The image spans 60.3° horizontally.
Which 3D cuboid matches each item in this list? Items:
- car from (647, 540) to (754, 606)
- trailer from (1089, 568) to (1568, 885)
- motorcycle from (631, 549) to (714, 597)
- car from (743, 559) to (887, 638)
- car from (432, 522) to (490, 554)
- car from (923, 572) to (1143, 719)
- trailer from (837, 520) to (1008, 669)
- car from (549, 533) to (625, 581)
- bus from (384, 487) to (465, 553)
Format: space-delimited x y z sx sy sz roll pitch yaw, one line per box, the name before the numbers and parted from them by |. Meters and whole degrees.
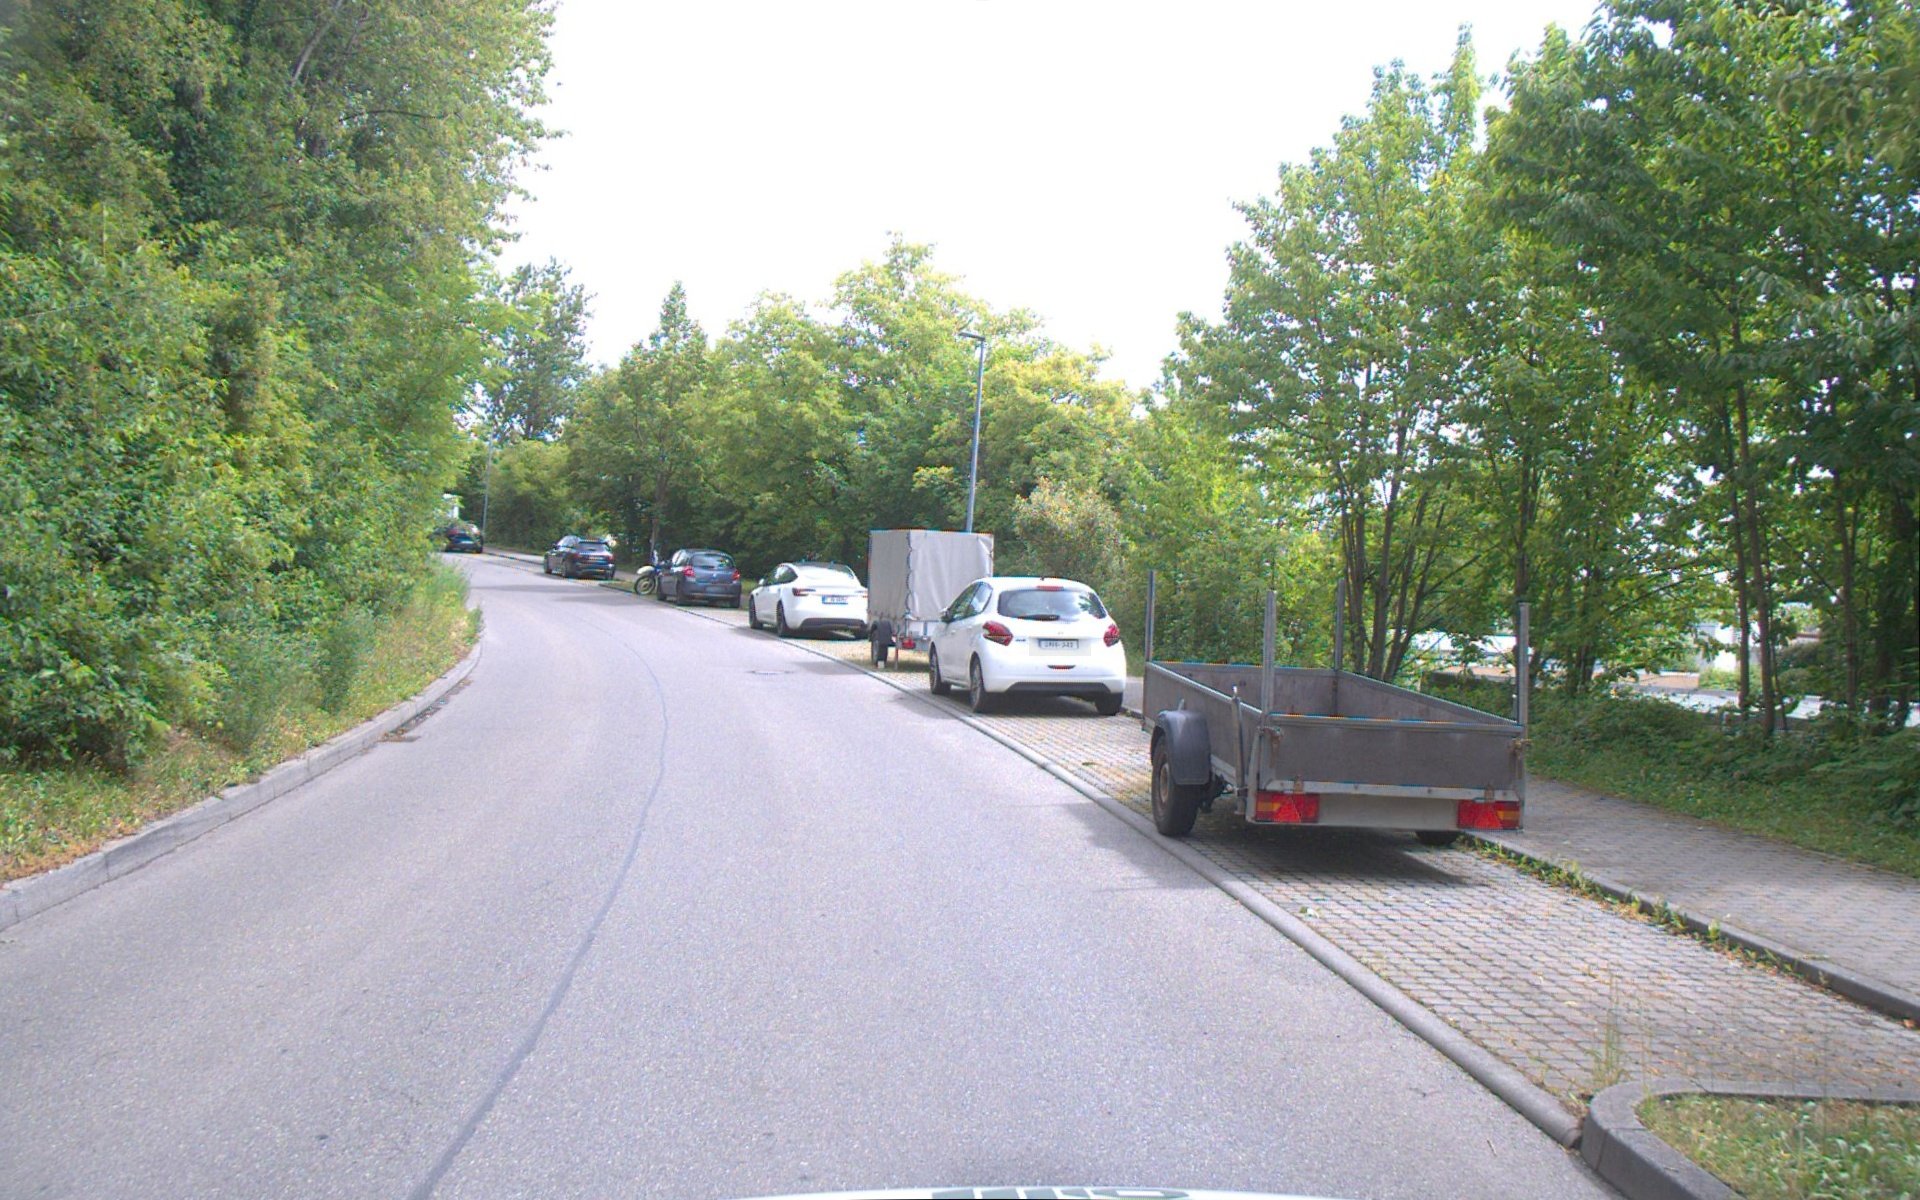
car | -7.145 -0.786 45.186 1.861 1.716 4.320 -1 2 -24
trailer | 2.056 0.621 10.460 1.750 1.552 3.996 2 1 -6
motorcycle | -8.418 -0.790 48.450 2.121 1.288 1.070 2 3 16
car | -3.047 -0.069 33.831 1.858 1.400 4.327 2 1 -20
car | -22.958 -2.866 76.039 1.820 1.355 3.965 1 2 -28
car | 0.746 0.462 19.611 1.737 1.436 3.991 2 2 -10
trailer | -0.677 -0.128 25.961 1.712 2.148 3.983 1 1 -16
car | -13.388 -1.564 59.196 1.818 1.542 3.969 2 2 -25
bus | -26.279 -3.966 81.002 2.512 2.737 5.192 6 1 -30
